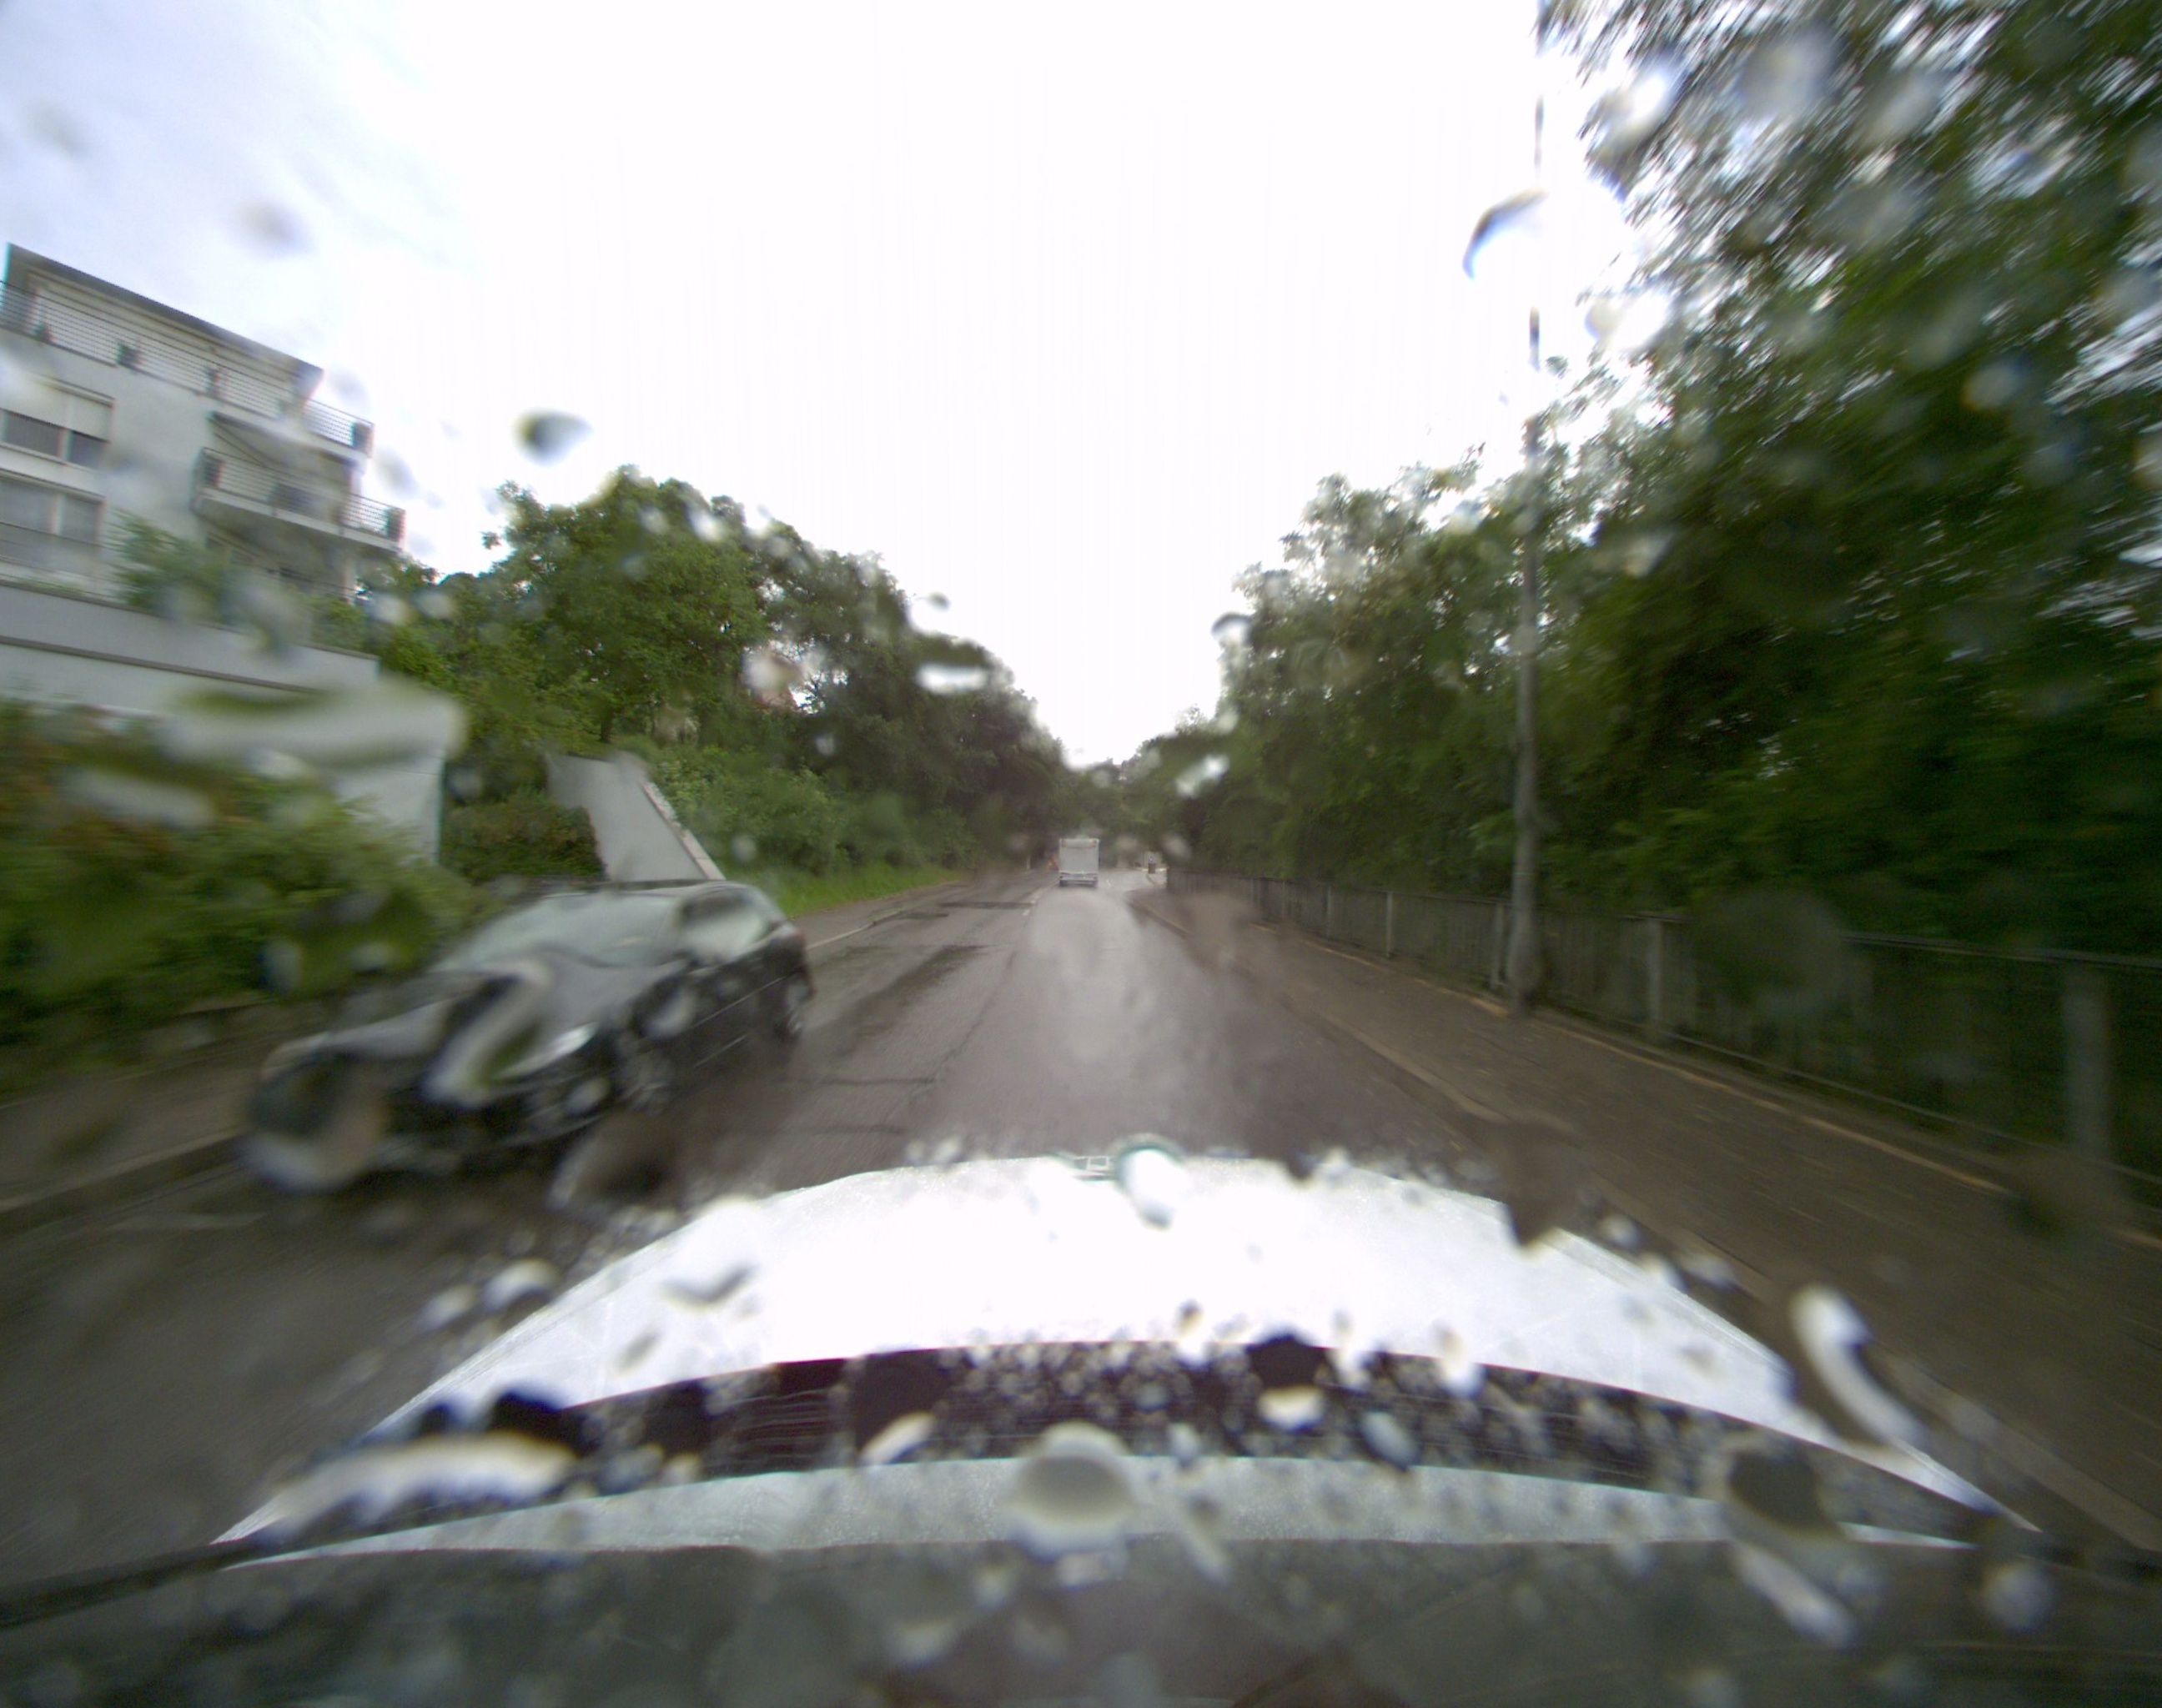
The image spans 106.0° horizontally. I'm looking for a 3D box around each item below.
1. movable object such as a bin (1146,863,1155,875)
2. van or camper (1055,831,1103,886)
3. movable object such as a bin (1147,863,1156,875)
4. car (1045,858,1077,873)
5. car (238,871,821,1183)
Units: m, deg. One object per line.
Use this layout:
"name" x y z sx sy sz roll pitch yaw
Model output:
"movable object such as a bin" 6.850 1.507 80.087 0.773 1.133 0.740 1 -1 9
"van or camper" -0.204 0.336 48.213 2.534 2.925 5.942 -3 -1 -2
"movable object such as a bin" 7.083 1.488 81.557 0.773 1.133 0.740 1 -1 9
"car" -2.102 1.255 88.721 1.977 1.561 4.674 2 0 18
"car" -3.174 0.854 5.633 1.646 1.385 3.528 -1 0 -1
